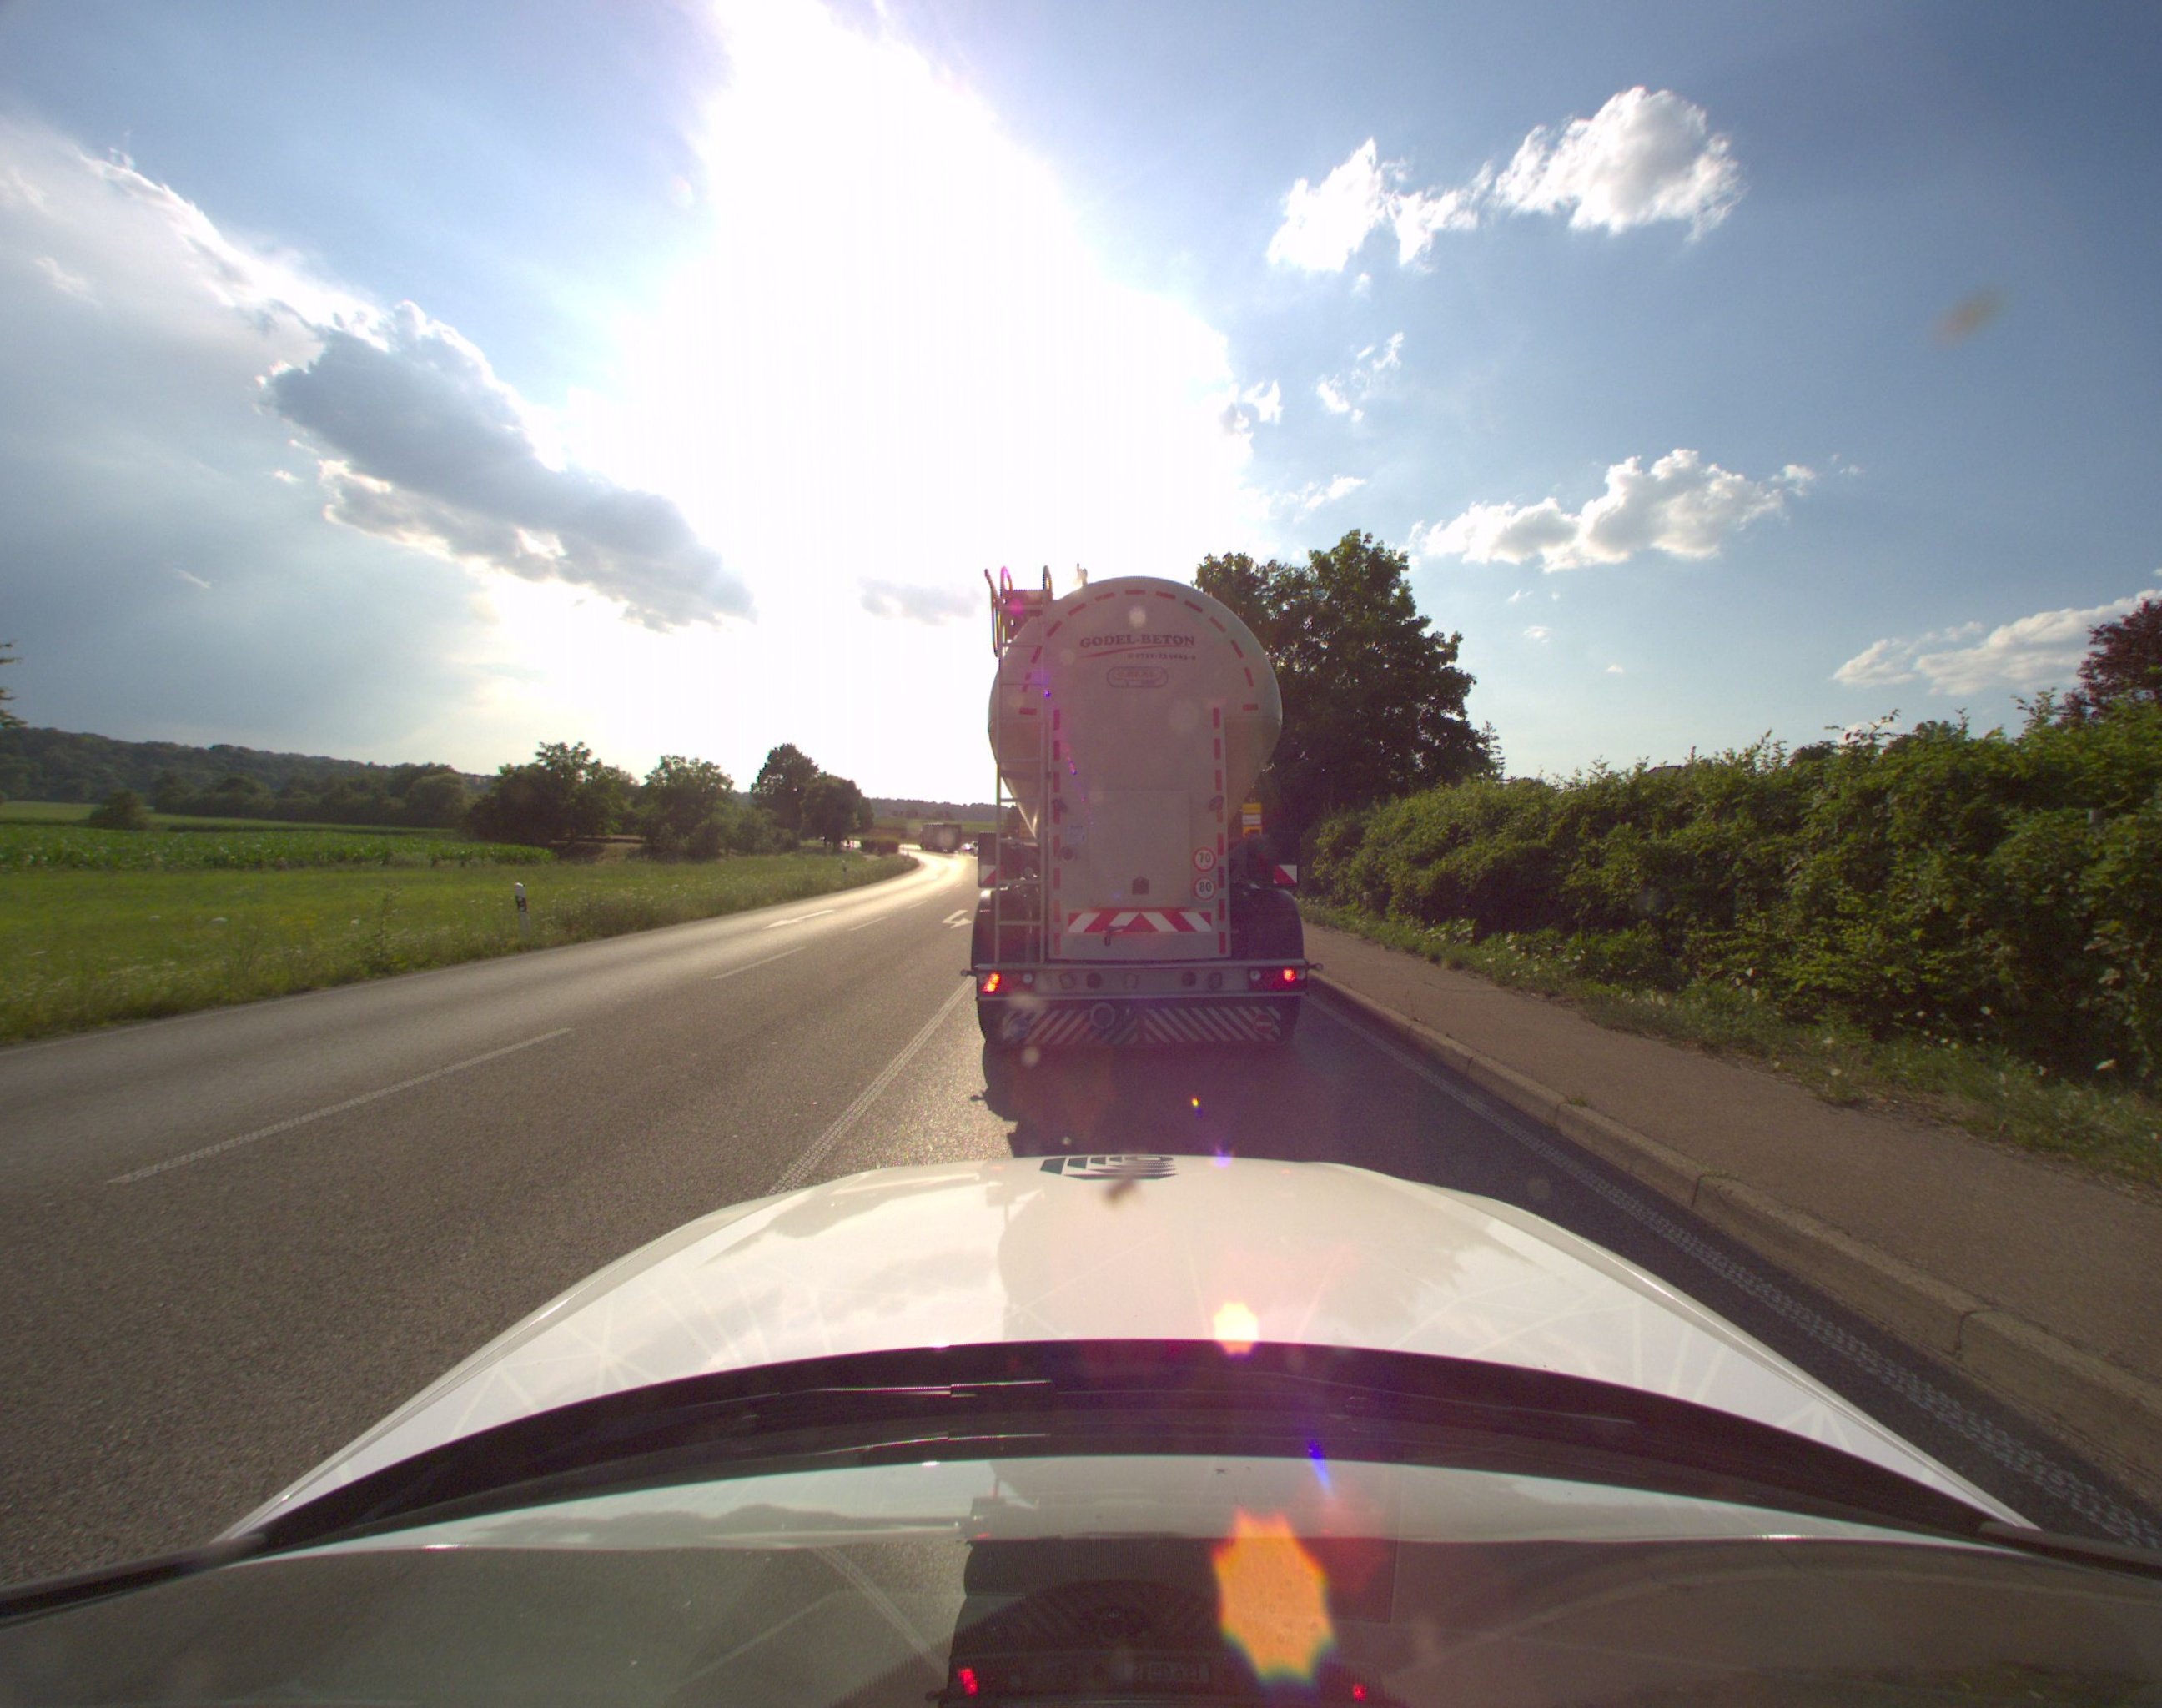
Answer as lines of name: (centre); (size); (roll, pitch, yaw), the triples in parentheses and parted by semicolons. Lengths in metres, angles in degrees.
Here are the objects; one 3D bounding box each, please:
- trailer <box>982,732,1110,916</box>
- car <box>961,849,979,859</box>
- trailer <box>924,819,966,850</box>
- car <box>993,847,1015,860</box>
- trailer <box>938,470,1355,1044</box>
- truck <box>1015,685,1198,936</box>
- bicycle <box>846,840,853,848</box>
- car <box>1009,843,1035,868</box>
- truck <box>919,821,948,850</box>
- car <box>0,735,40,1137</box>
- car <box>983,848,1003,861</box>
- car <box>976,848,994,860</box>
trailer: (-0.580, -0.752, 26.317); (2.943, 4.315, 14.182); (1, 0, 2)
car: (-13.967, -0.032, 102.546); (1.773, 1.206, 3.407); (1, 0, -16)
trailer: (-20.262, -2.793, 120.273); (3.388, 4.350, 14.192); (1, 0, -21)
car: (-7.736, -0.068, 81.851); (1.583, 1.340, 3.407); (1, 0, -16)
trailer: (0.427, -0.700, 10.682); (2.901, 4.006, 9.926); (0, 0, -1)
truck: (0.382, -0.711, 15.070); (2.901, 4.006, 4.057); (0, 0, -1)
bicycle: (-33.836, -1.436, 119.084); (0.634, 1.074, 1.667); (2, 0, -6)
car: (-4.908, 0.077, 67.388); (1.861, 2.013, 3.708); (-1, 0, -9)
truck: (-23.284, -2.845, 128.125); (3.388, 4.350, 5.665); (1, 0, -21)
car: (-6.788, 0.437, 2.102); (1.991, 2.136, 4.780); (0, 0, 1)
car: (-9.550, 0.056, 88.107); (1.583, 1.340, 3.407); (1, 0, -16)
car: (-11.389, 0.032, 96.220); (1.583, 1.340, 3.407); (1, 0, -16)
